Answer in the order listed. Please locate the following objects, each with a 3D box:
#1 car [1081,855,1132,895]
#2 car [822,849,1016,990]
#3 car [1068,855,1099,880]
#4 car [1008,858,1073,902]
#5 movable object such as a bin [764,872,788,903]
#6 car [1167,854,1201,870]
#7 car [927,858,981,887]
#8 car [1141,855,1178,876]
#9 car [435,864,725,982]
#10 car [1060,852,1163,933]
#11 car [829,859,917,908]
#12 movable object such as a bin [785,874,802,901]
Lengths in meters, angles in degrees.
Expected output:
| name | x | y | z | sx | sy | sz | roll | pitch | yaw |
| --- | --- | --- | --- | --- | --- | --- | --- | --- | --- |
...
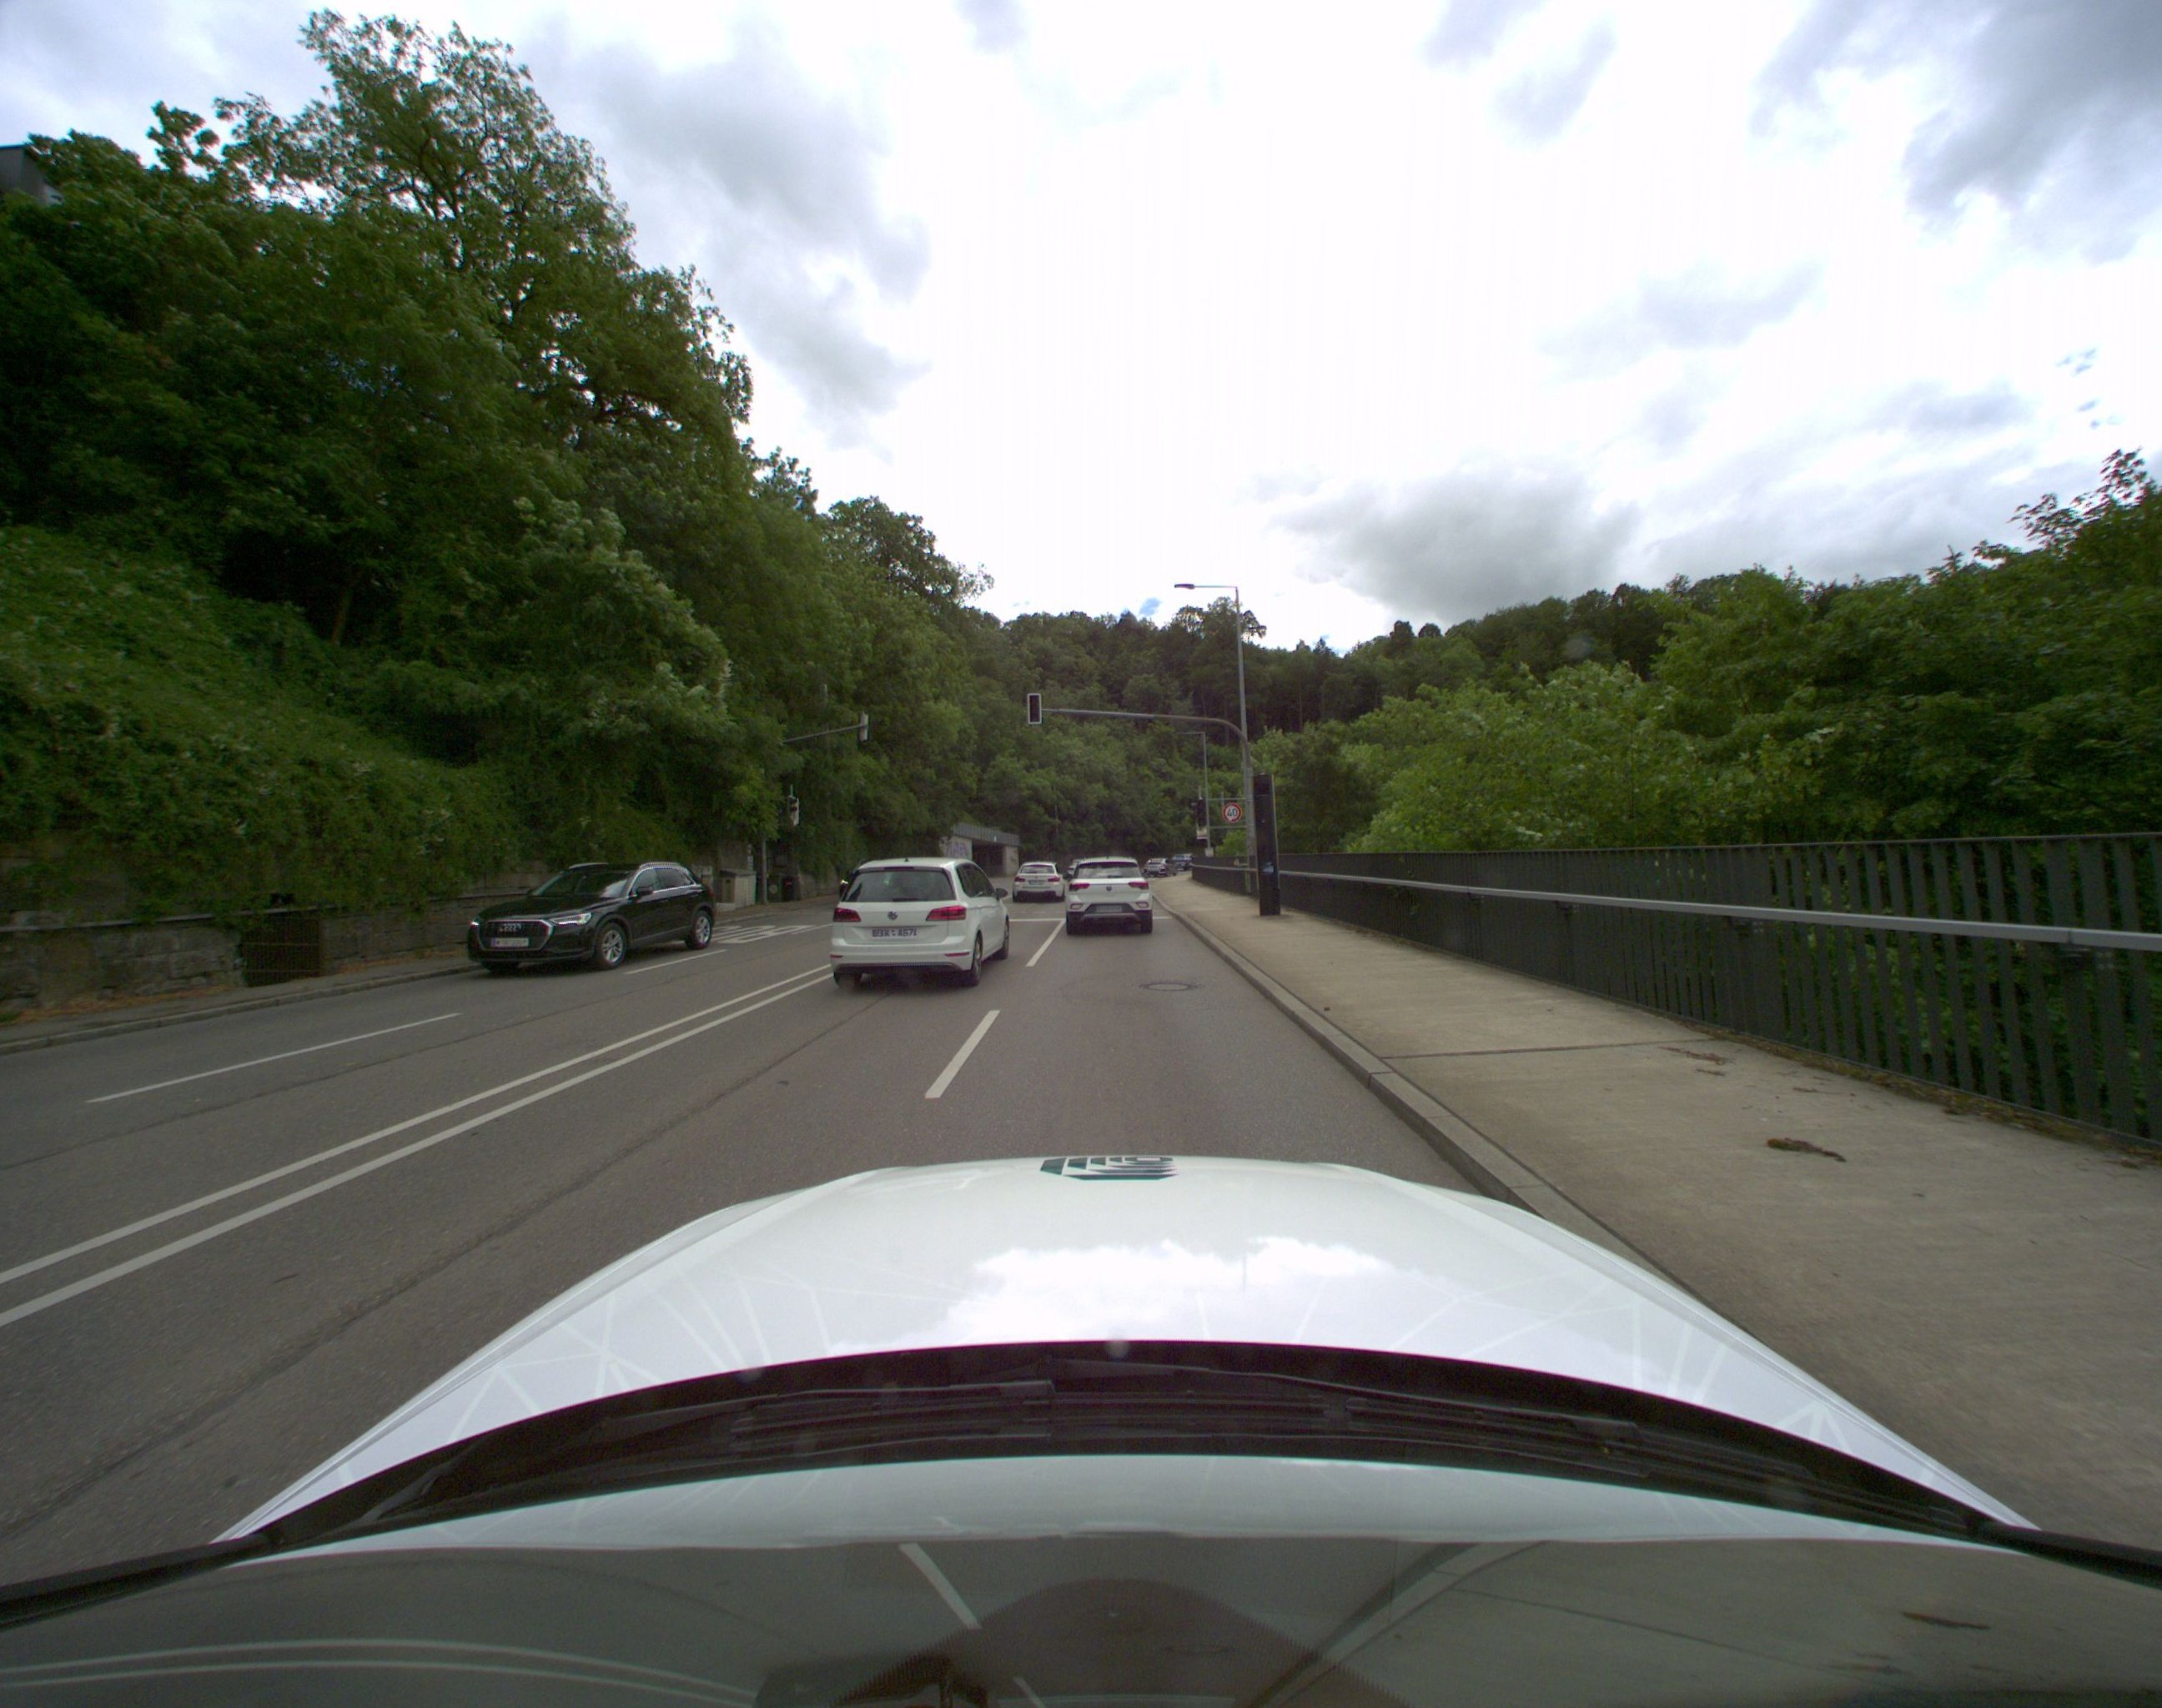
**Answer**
| name | x | y | z | sx | sy | sz | roll | pitch | yaw |
| --- | --- | --- | --- | --- | --- | --- | --- | --- | --- |
| car | 1.302 | 0.984 | 39.323 | 1.982 | 1.843 | 4.160 | 0 | -1 | 8 |
| car | -1.982 | 0.742 | 11.249 | 1.714 | 1.554 | 4.276 | -1 | 0 | 1 |
| car | 0.184 | 0.884 | 53.225 | 1.855 | 1.595 | 4.002 | 0 | -1 | 3 |
| car | -1.452 | 0.925 | 30.864 | 1.985 | 1.557 | 4.684 | 0 | 0 | 3 |
| movable object such as a bin | -10.825 | 1.184 | 28.922 | 0.639 | 1.067 | 0.557 | 0 | -1 | 0 |
| car | 9.606 | 0.746 | 75.665 | 1.864 | 1.519 | 4.023 | 0 | -1 | 27 |
| car | -6.573 | 0.963 | 42.625 | 1.804 | 1.434 | 4.254 | 0 | -1 | 5 |
| car | 5.983 | 0.851 | 61.736 | 2.016 | 1.519 | 4.218 | 0 | -1 | 16 |
| car | -7.793 | 0.975 | 13.277 | 1.934 | 1.549 | 4.251 | -2 | -1 | 2 |
| car | 0.781 | 0.779 | 17.866 | 1.803 | 1.539 | 4.017 | -2 | -1 | 8 |
| car | -6.935 | 0.926 | 27.605 | 1.774 | 1.482 | 4.213 | 0 | 0 | 2 |
| movable object such as a bin | -10.240 | 1.189 | 29.022 | 0.425 | 0.950 | 0.479 | 0 | -1 | 0 |
